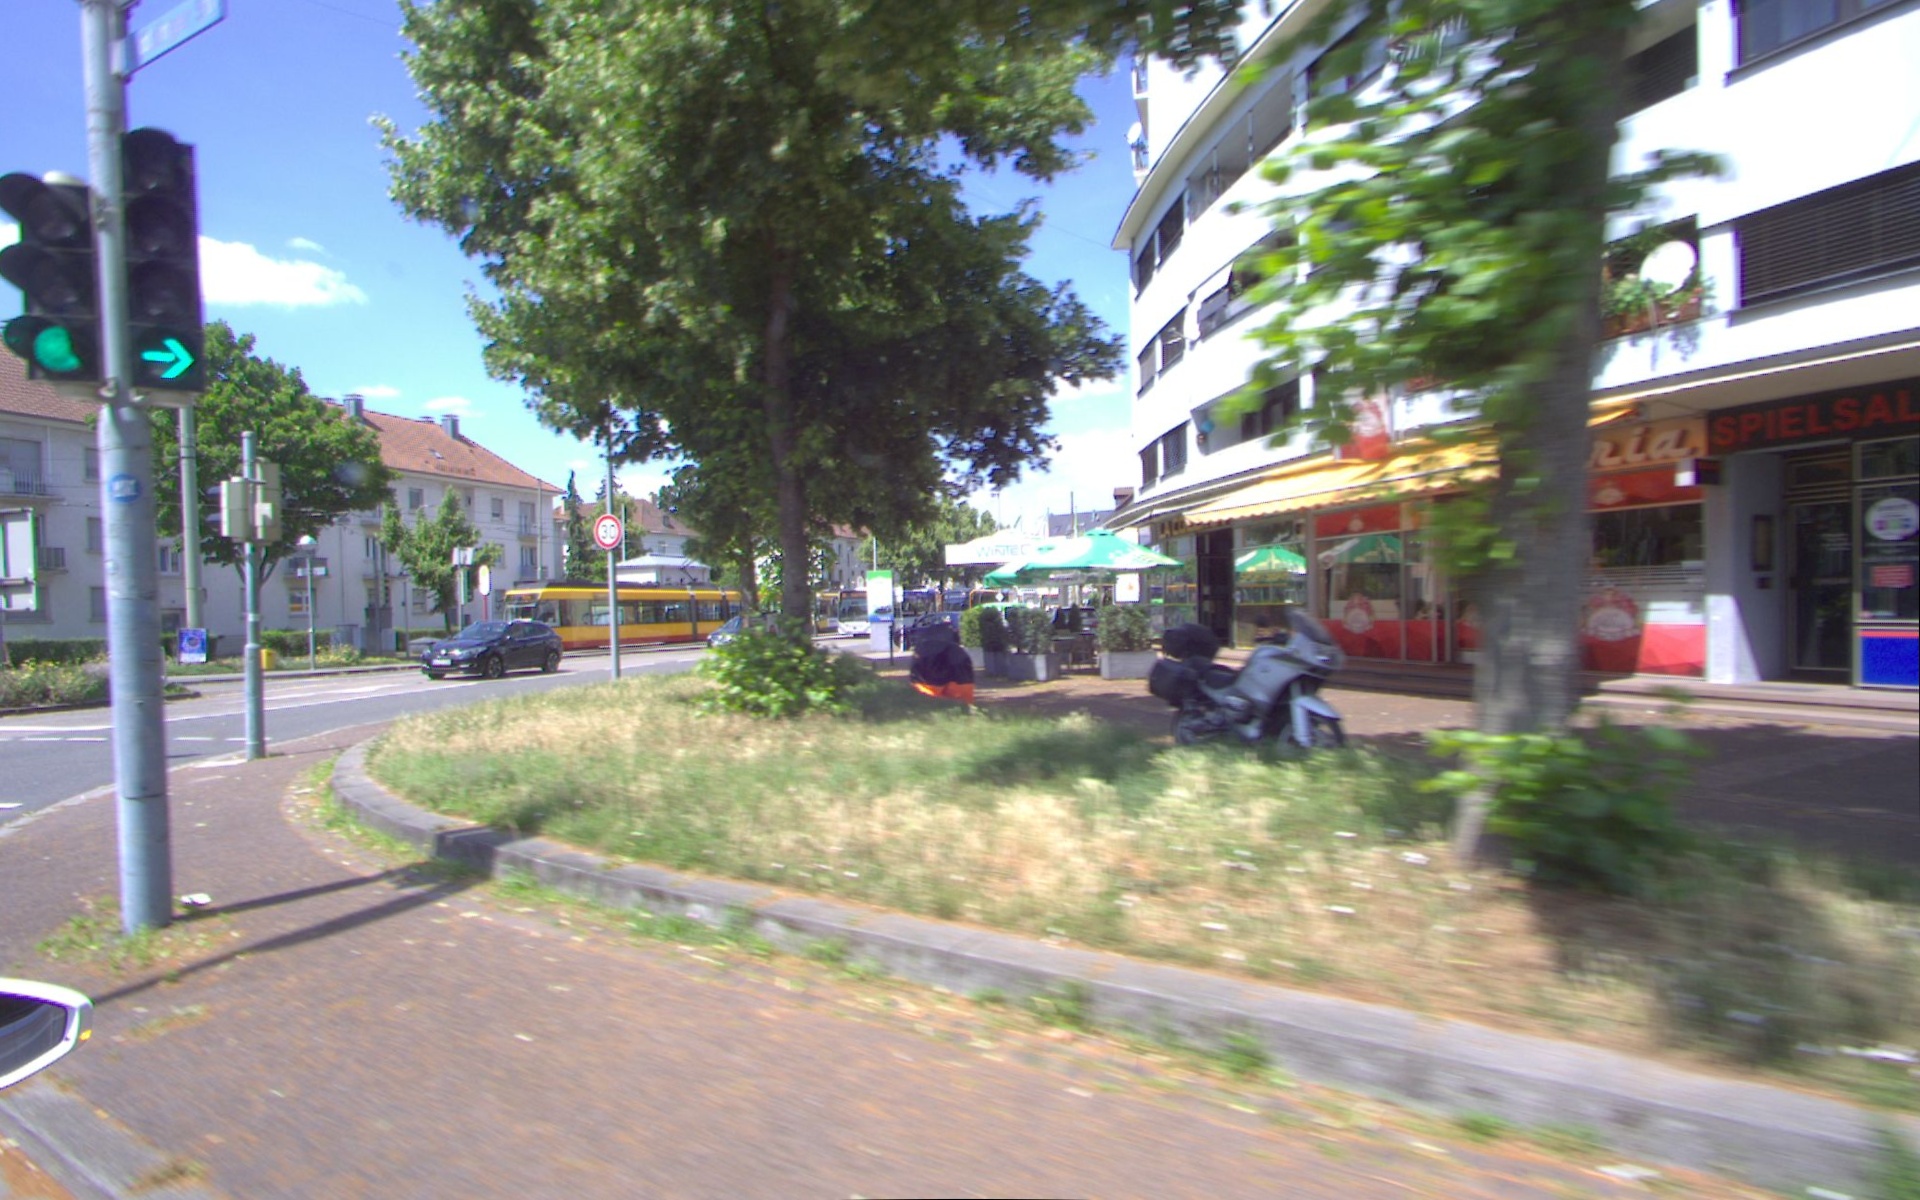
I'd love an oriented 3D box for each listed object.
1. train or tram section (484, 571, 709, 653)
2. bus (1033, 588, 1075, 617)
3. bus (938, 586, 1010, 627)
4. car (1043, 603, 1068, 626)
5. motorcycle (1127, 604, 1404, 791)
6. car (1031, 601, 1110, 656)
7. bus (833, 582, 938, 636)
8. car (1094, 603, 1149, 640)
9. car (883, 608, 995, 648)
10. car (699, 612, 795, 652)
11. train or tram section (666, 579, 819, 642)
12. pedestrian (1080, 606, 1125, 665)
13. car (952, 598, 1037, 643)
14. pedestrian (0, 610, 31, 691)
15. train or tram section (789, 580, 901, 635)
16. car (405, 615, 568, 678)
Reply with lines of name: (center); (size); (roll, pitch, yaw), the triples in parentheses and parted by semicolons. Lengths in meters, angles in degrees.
train or tram section: (-17.950, 0.582, 51.364); (2.768, 3.615, 14.157); (-1, -1, 17)
bus: (11.227, 0.344, 118.675); (2.690, 3.261, 11.031); (-1, 0, 17)
bus: (1.367, 0.562, 84.276); (2.690, 3.170, 11.989); (-1, -1, 17)
car: (8.718, 1.321, 91.183); (1.780, 2.007, 3.996); (-1, 0, 13)
motorcycle: (2.436, 0.722, 8.326); (0.905, 1.330, 2.215); (0, -1, -28)
car: (3.126, 0.827, 29.125); (1.674, 1.447, 4.364); (-1, -1, -1)
bus: (-4.617, 0.586, 65.873); (2.690, 3.170, 11.989); (-1, -1, 17)
car: (7.451, 0.979, 45.941); (1.978, 1.617, 4.283); (-1, -1, 16)
car: (-0.856, 1.090, 38.789); (4.124, 1.458, 1.887); (-2, -1, 41)
car: (-8.845, 1.304, 41.982); (1.964, 1.539, 4.504); (-1, -1, 18)
train or tram section: (-13.630, 0.640, 65.101); (2.744, 3.615, 14.681); (-1, -1, 17)
pedestrian: (3.301, 0.808, 23.309); (0.800, 1.323, 1.017); (-1, 0, -6)
car: (1.460, 0.915, 43.863); (1.816, 1.817, 4.004); (-1, -1, -31)
pedestrian: (-20.735, 1.081, 21.507); (0.747, 1.727, 0.838); (-1, 0, 5)
train or tram section: (-8.854, 0.623, 80.389); (2.744, 3.946, 15.526); (-1, -1, 17)
car: (-12.492, 1.179, 26.795); (1.961, 1.519, 4.425); (-1, -1, 5)
